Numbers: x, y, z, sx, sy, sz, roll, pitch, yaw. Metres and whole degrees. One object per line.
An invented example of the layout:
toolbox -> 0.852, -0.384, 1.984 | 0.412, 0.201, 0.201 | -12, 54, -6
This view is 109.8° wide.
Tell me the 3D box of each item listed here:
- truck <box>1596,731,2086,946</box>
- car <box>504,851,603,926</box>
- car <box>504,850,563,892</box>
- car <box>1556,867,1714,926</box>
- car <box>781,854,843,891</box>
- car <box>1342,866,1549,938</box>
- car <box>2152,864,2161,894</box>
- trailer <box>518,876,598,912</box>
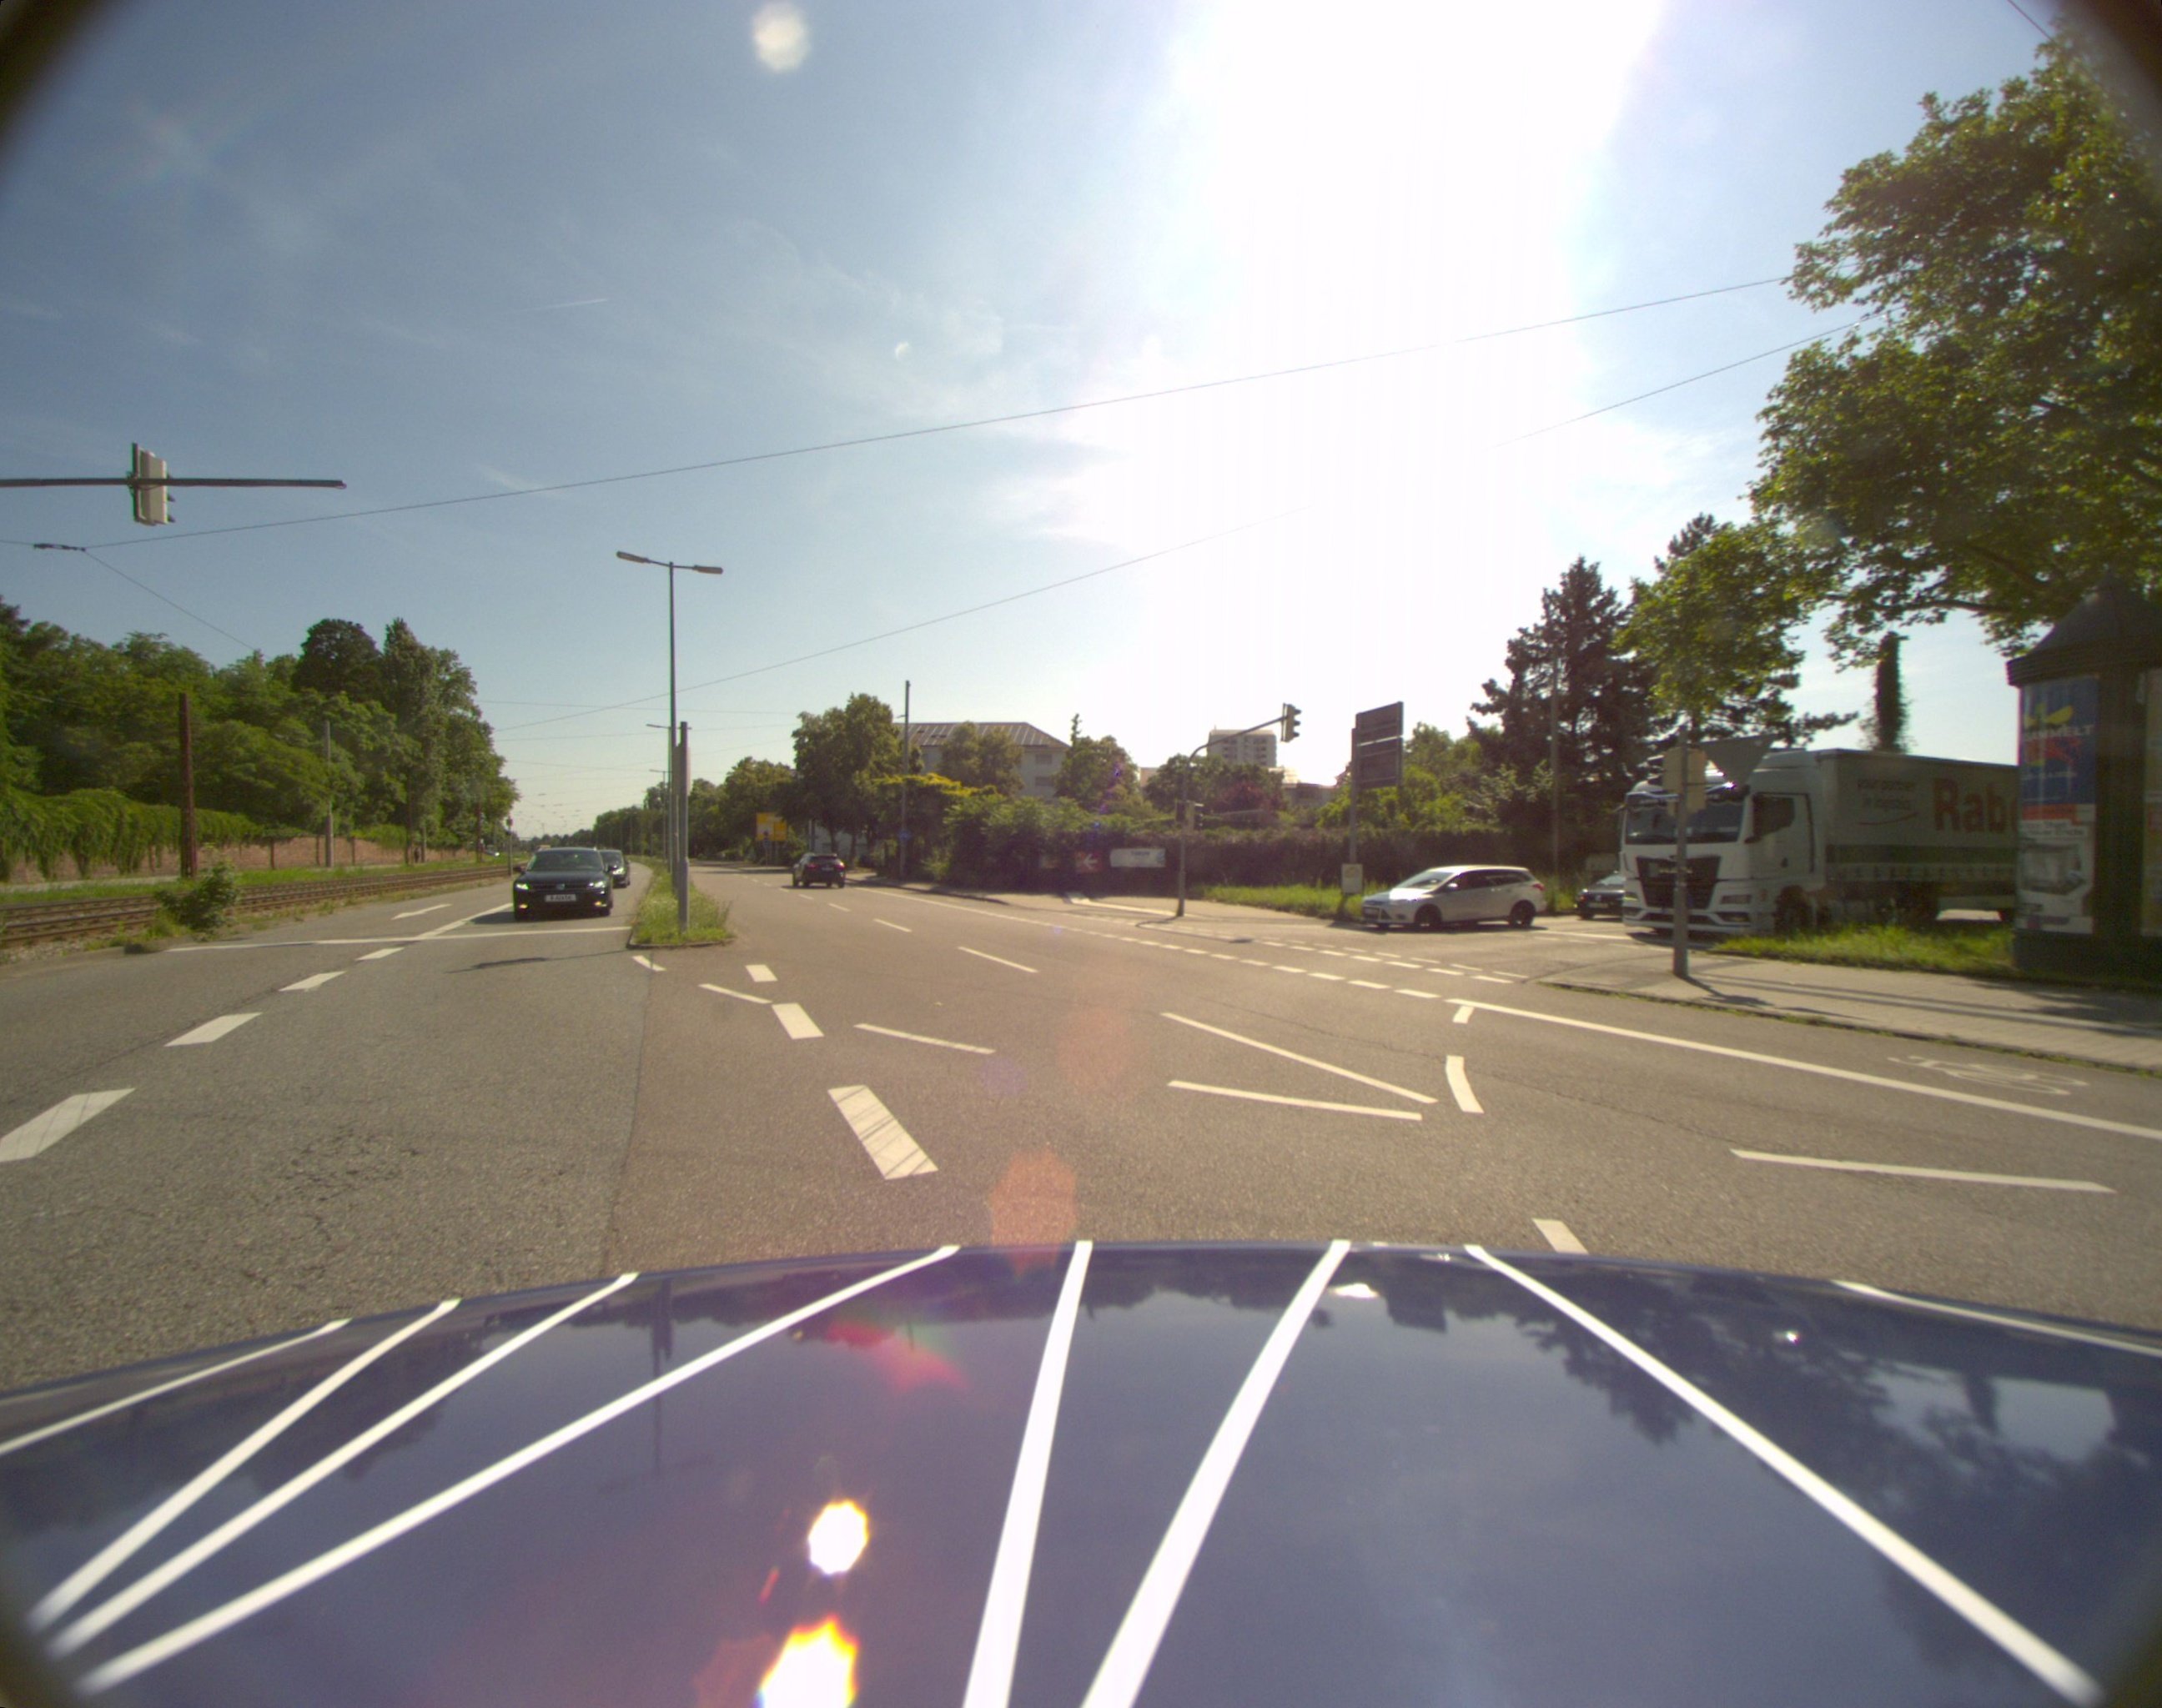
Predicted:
truck -> 18.545, -0.217, 18.098 | 14.320, 3.984, 2.849 | 1, 1, -22
car -> -12.631, 0.730, 18.330 | 1.759, 1.573, 4.493 | 0, 0, -34
car -> -22.054, 0.630, 30.738 | 1.759, 1.573, 4.493 | 0, 0, -34
car -> 14.843, 1.084, 20.371 | 3.743, 1.425, 1.632 | 0, -1, -20
car -> -12.458, 0.804, 35.003 | 1.759, 1.573, 4.494 | 2, -1, -31
car -> 8.617, 1.066, 18.024 | 4.401, 1.501, 1.754 | 0, -1, -18
car -> 51.916, 1.130, 35.107 | 4.376, 1.361, 1.753 | 0, -1, -20
trailer -> -14.726, 1.089, 21.474 | 1.759, 0.813, 3.062 | 0, 0, -34
